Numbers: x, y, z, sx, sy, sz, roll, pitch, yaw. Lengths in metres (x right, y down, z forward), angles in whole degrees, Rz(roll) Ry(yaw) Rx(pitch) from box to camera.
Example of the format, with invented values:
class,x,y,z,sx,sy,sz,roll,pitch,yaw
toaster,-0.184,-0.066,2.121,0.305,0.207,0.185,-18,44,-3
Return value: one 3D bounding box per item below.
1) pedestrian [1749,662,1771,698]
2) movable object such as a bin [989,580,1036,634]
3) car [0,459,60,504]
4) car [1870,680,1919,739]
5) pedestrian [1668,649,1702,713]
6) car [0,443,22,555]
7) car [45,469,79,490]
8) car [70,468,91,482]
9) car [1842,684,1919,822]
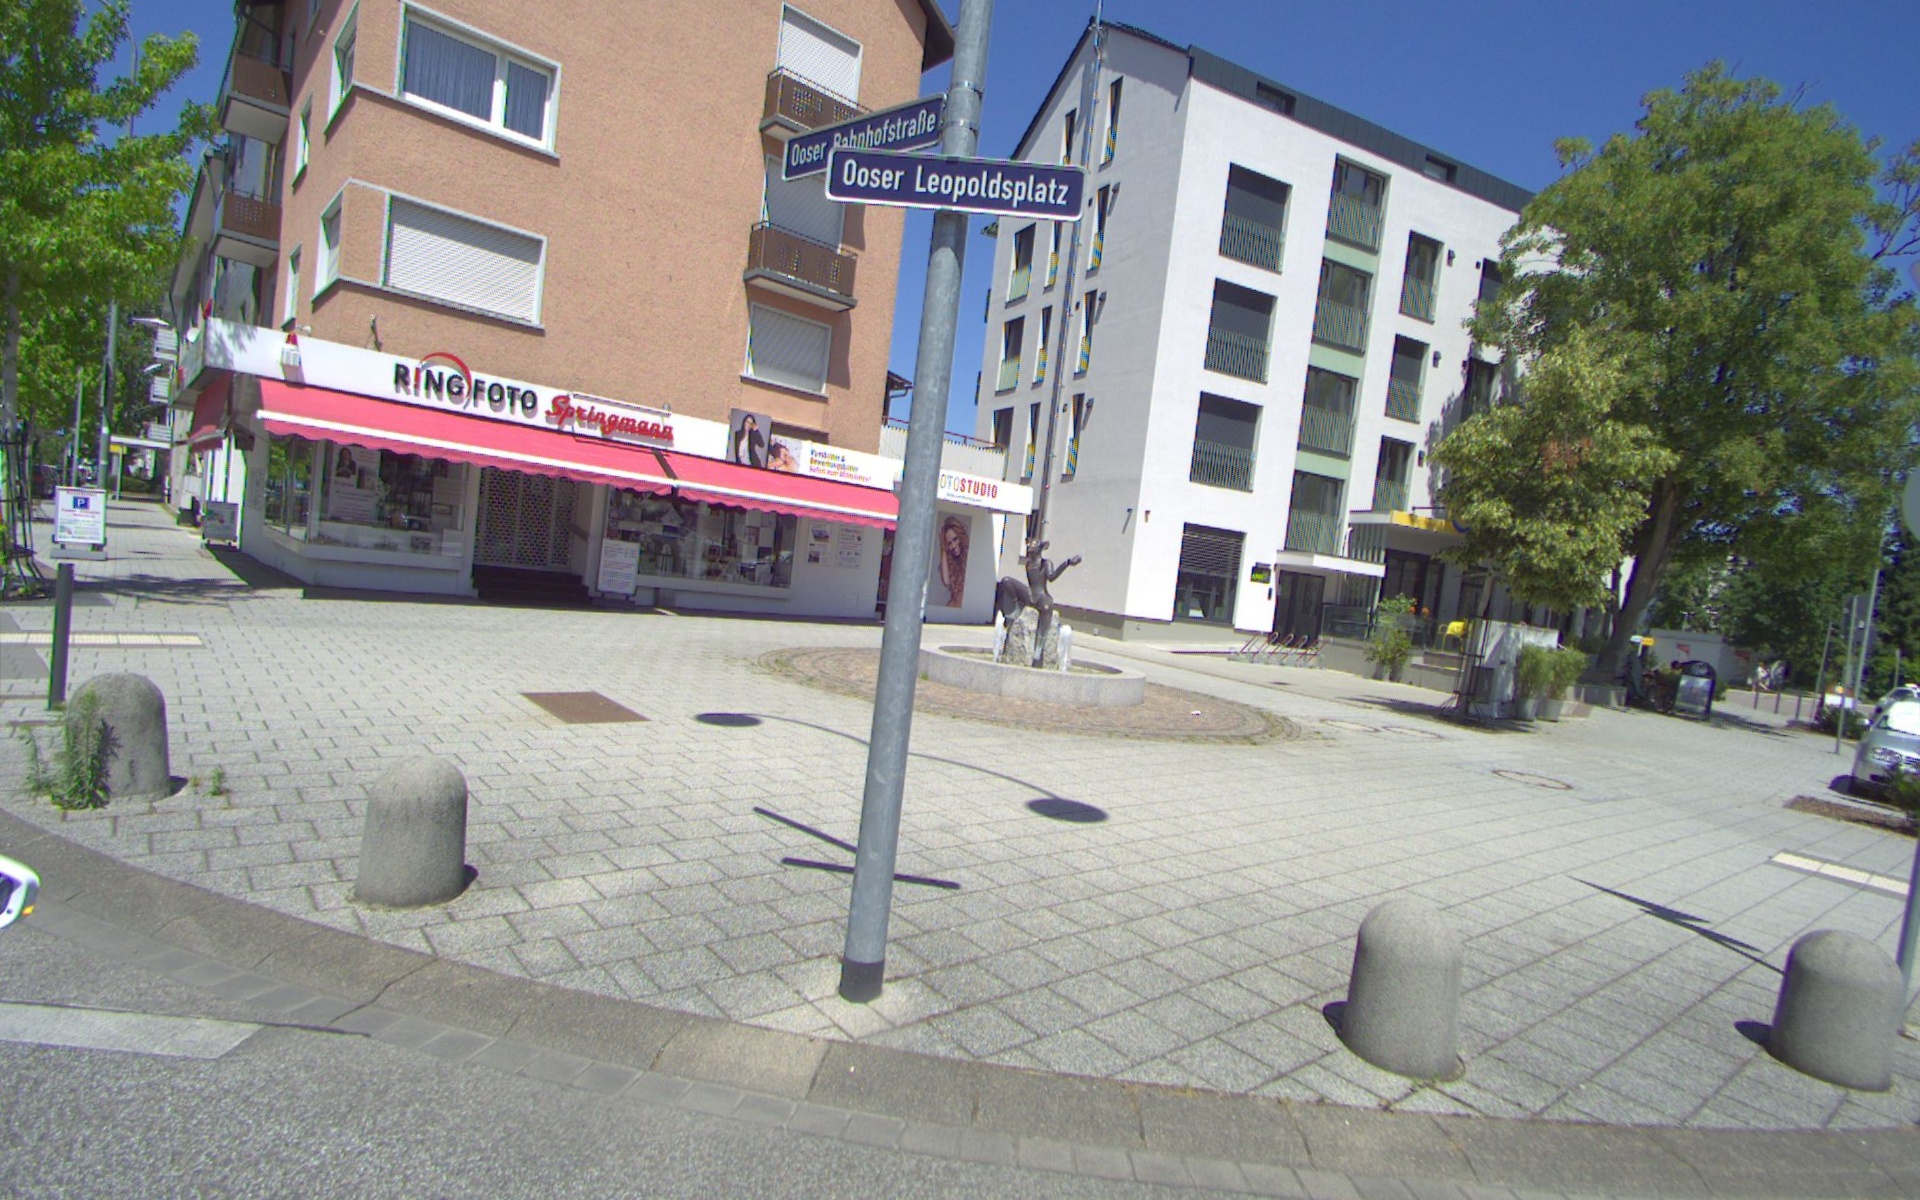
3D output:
class,x,y,z,sx,sy,sz,roll,pitch,yaw
pedestrian,44.252,4.412,55.658,0.540,1.840,0.842,10,6,29
movable object such as a bin,1.265,0.170,24.464,0.750,1.171,0.768,5,5,-23
car,-46.187,-5.886,49.848,1.982,1.824,4.517,3,5,-38
car,30.670,3.551,31.844,1.806,1.595,3.989,7,2,30
pedestrian,19.515,2.171,27.082,0.399,1.652,0.649,9,6,26
car,-17.040,-1.813,16.652,3.853,1.748,1.743,8,4,40
car,-75.993,-10.194,85.170,1.965,1.470,4.298,3,5,-40
car,-111.984,-15.877,128.067,1.941,1.496,4.088,3,4,-41
car,13.639,2.131,13.918,1.777,1.611,3.975,12,5,44
